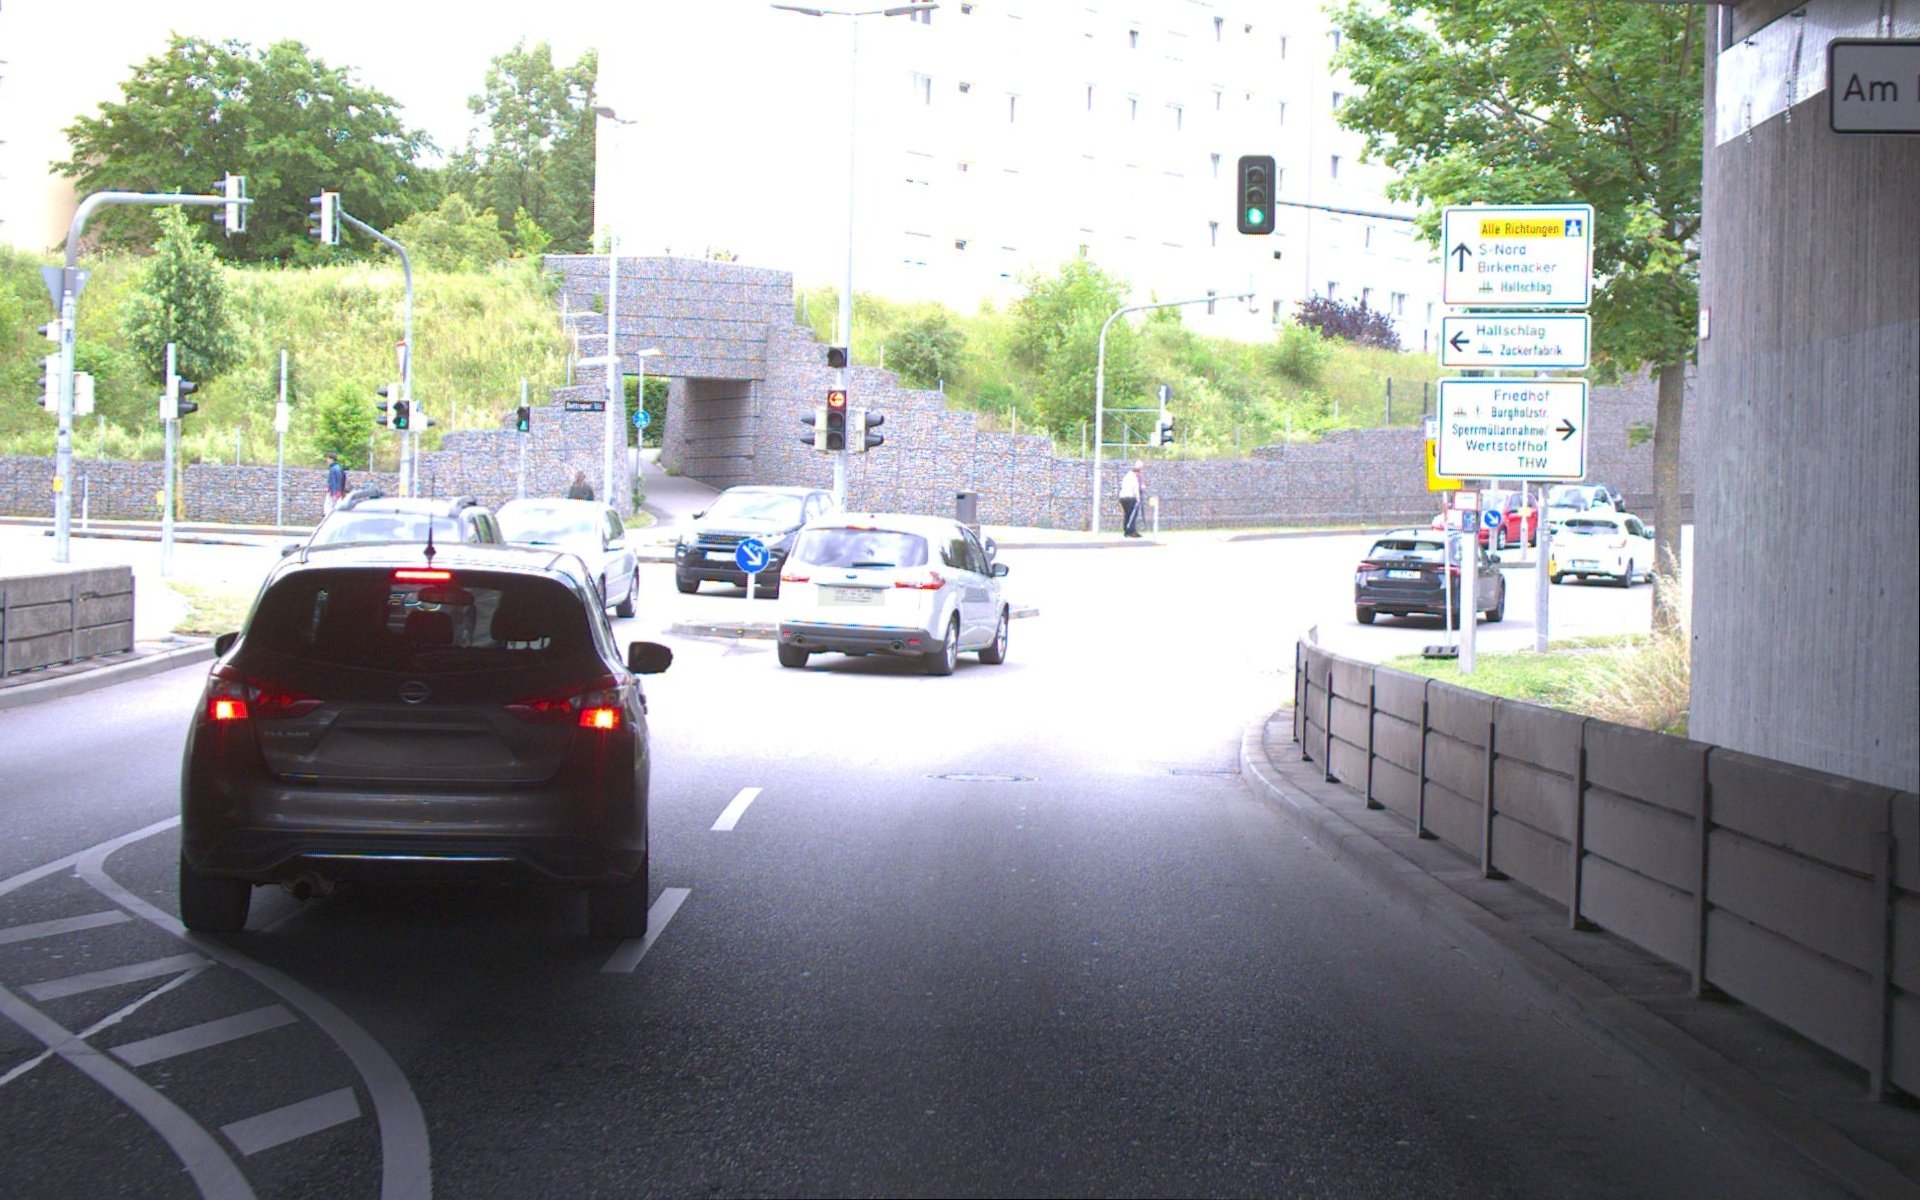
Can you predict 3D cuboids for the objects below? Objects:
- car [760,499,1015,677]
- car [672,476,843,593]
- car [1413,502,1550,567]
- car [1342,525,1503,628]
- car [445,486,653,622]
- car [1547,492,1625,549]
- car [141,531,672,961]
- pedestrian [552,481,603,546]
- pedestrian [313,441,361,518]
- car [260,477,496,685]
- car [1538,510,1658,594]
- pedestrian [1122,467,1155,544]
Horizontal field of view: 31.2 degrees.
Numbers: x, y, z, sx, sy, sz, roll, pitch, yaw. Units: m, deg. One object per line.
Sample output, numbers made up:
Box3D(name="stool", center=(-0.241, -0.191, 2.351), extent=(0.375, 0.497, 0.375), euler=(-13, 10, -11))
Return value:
Box3D(name="car", center=(-0.712, -0.163, 36.716), extent=(1.831, 1.700, 3.867), euler=(3, 2, 12))
Box3D(name="car", center=(-3.120, -1.040, 53.908), extent=(1.994, 1.692, 4.167), euler=(2, 2, 6))
Box3D(name="car", center=(13.282, -1.668, 87.397), extent=(1.845, 1.449, 3.993), euler=(7, 4, 33))
Box3D(name="car", center=(7.273, -0.393, 53.744), extent=(1.901, 1.461, 3.997), euler=(3, 2, 16))
Box3D(name="car", center=(-5.135, -0.607, 43.446), extent=(1.763, 1.586, 3.999), euler=(2, 2, 5))
Box3D(name="car", center=(16.995, -2.159, 93.261), extent=(1.162, 1.361, 2.501), euler=(6, 2, 30))
Box3D(name="car", center=(-2.238, 0.496, 14.398), extent=(1.844, 1.488, 4.001), euler=(2, 1, -7))
Box3D(name="pedestrian", center=(-7.816, -1.765, 70.185), extent=(0.910, 1.219, 0.729), euler=(5, 2, -8))
Box3D(name="pedestrian", center=(-13.518, -2.614, 74.585), extent=(0.952, 1.607, 0.700), euler=(2, 2, -9))
Box3D(name="car", center=(-5.345, -0.229, 31.972), extent=(1.686, 1.702, 3.790), euler=(3, 2, -3))
Box3D(name="car", center=(13.123, -0.998, 70.553), extent=(1.995, 1.612, 3.997), euler=(2, 2, 16))
Box3D(name="pedestrian", center=(4.326, -2.296, 83.402), extent=(0.604, 1.856, 0.597), euler=(2, 2, -10))
